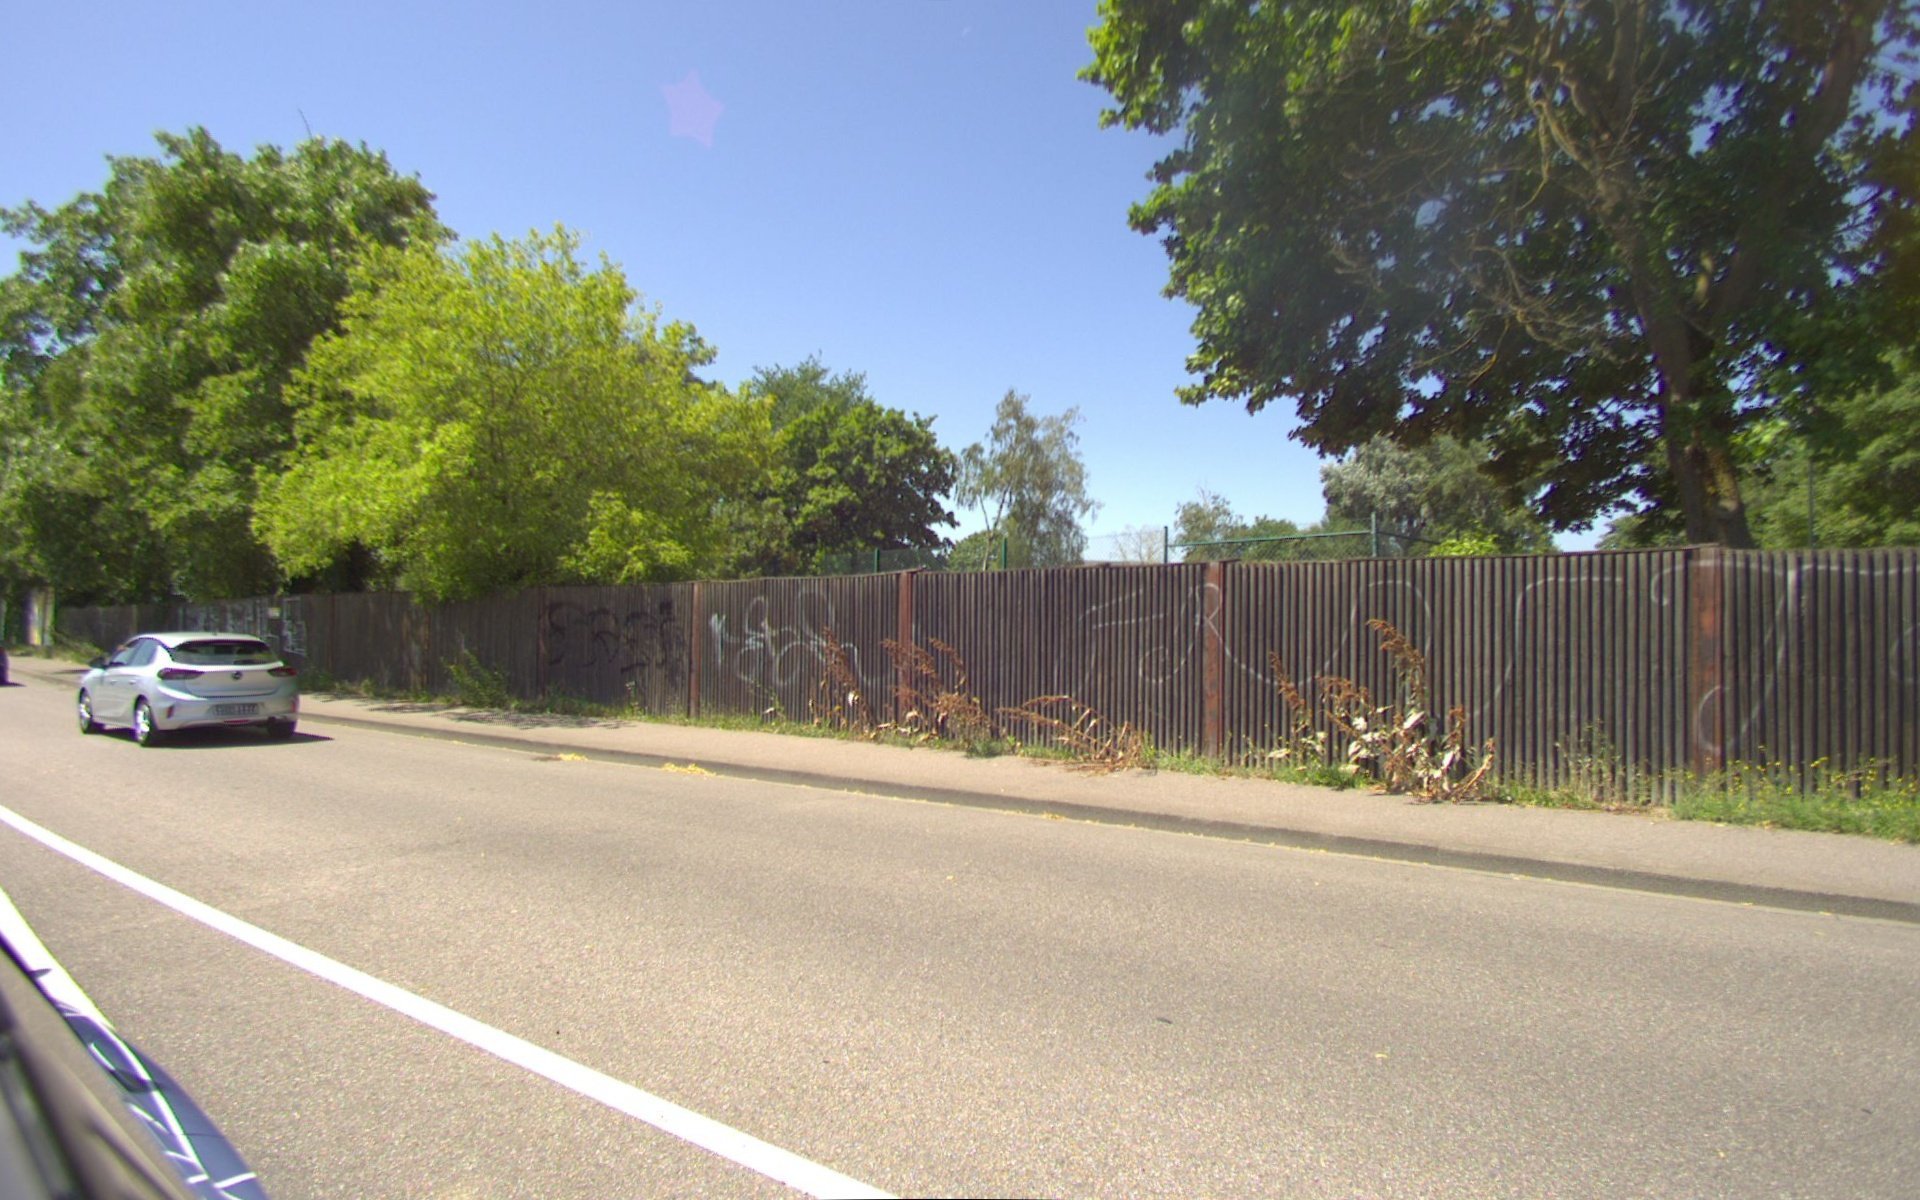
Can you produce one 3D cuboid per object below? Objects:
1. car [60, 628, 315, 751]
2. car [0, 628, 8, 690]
[{"bbox_3d":[-10.734,1.152,13.998,3.834,1.475,1.699,-1,-3,35],"label":"car"},{"bbox_3d":[-25.312,1.462,25.118,3.686,1.497,1.739,-1,-2,35],"label":"car"}]
